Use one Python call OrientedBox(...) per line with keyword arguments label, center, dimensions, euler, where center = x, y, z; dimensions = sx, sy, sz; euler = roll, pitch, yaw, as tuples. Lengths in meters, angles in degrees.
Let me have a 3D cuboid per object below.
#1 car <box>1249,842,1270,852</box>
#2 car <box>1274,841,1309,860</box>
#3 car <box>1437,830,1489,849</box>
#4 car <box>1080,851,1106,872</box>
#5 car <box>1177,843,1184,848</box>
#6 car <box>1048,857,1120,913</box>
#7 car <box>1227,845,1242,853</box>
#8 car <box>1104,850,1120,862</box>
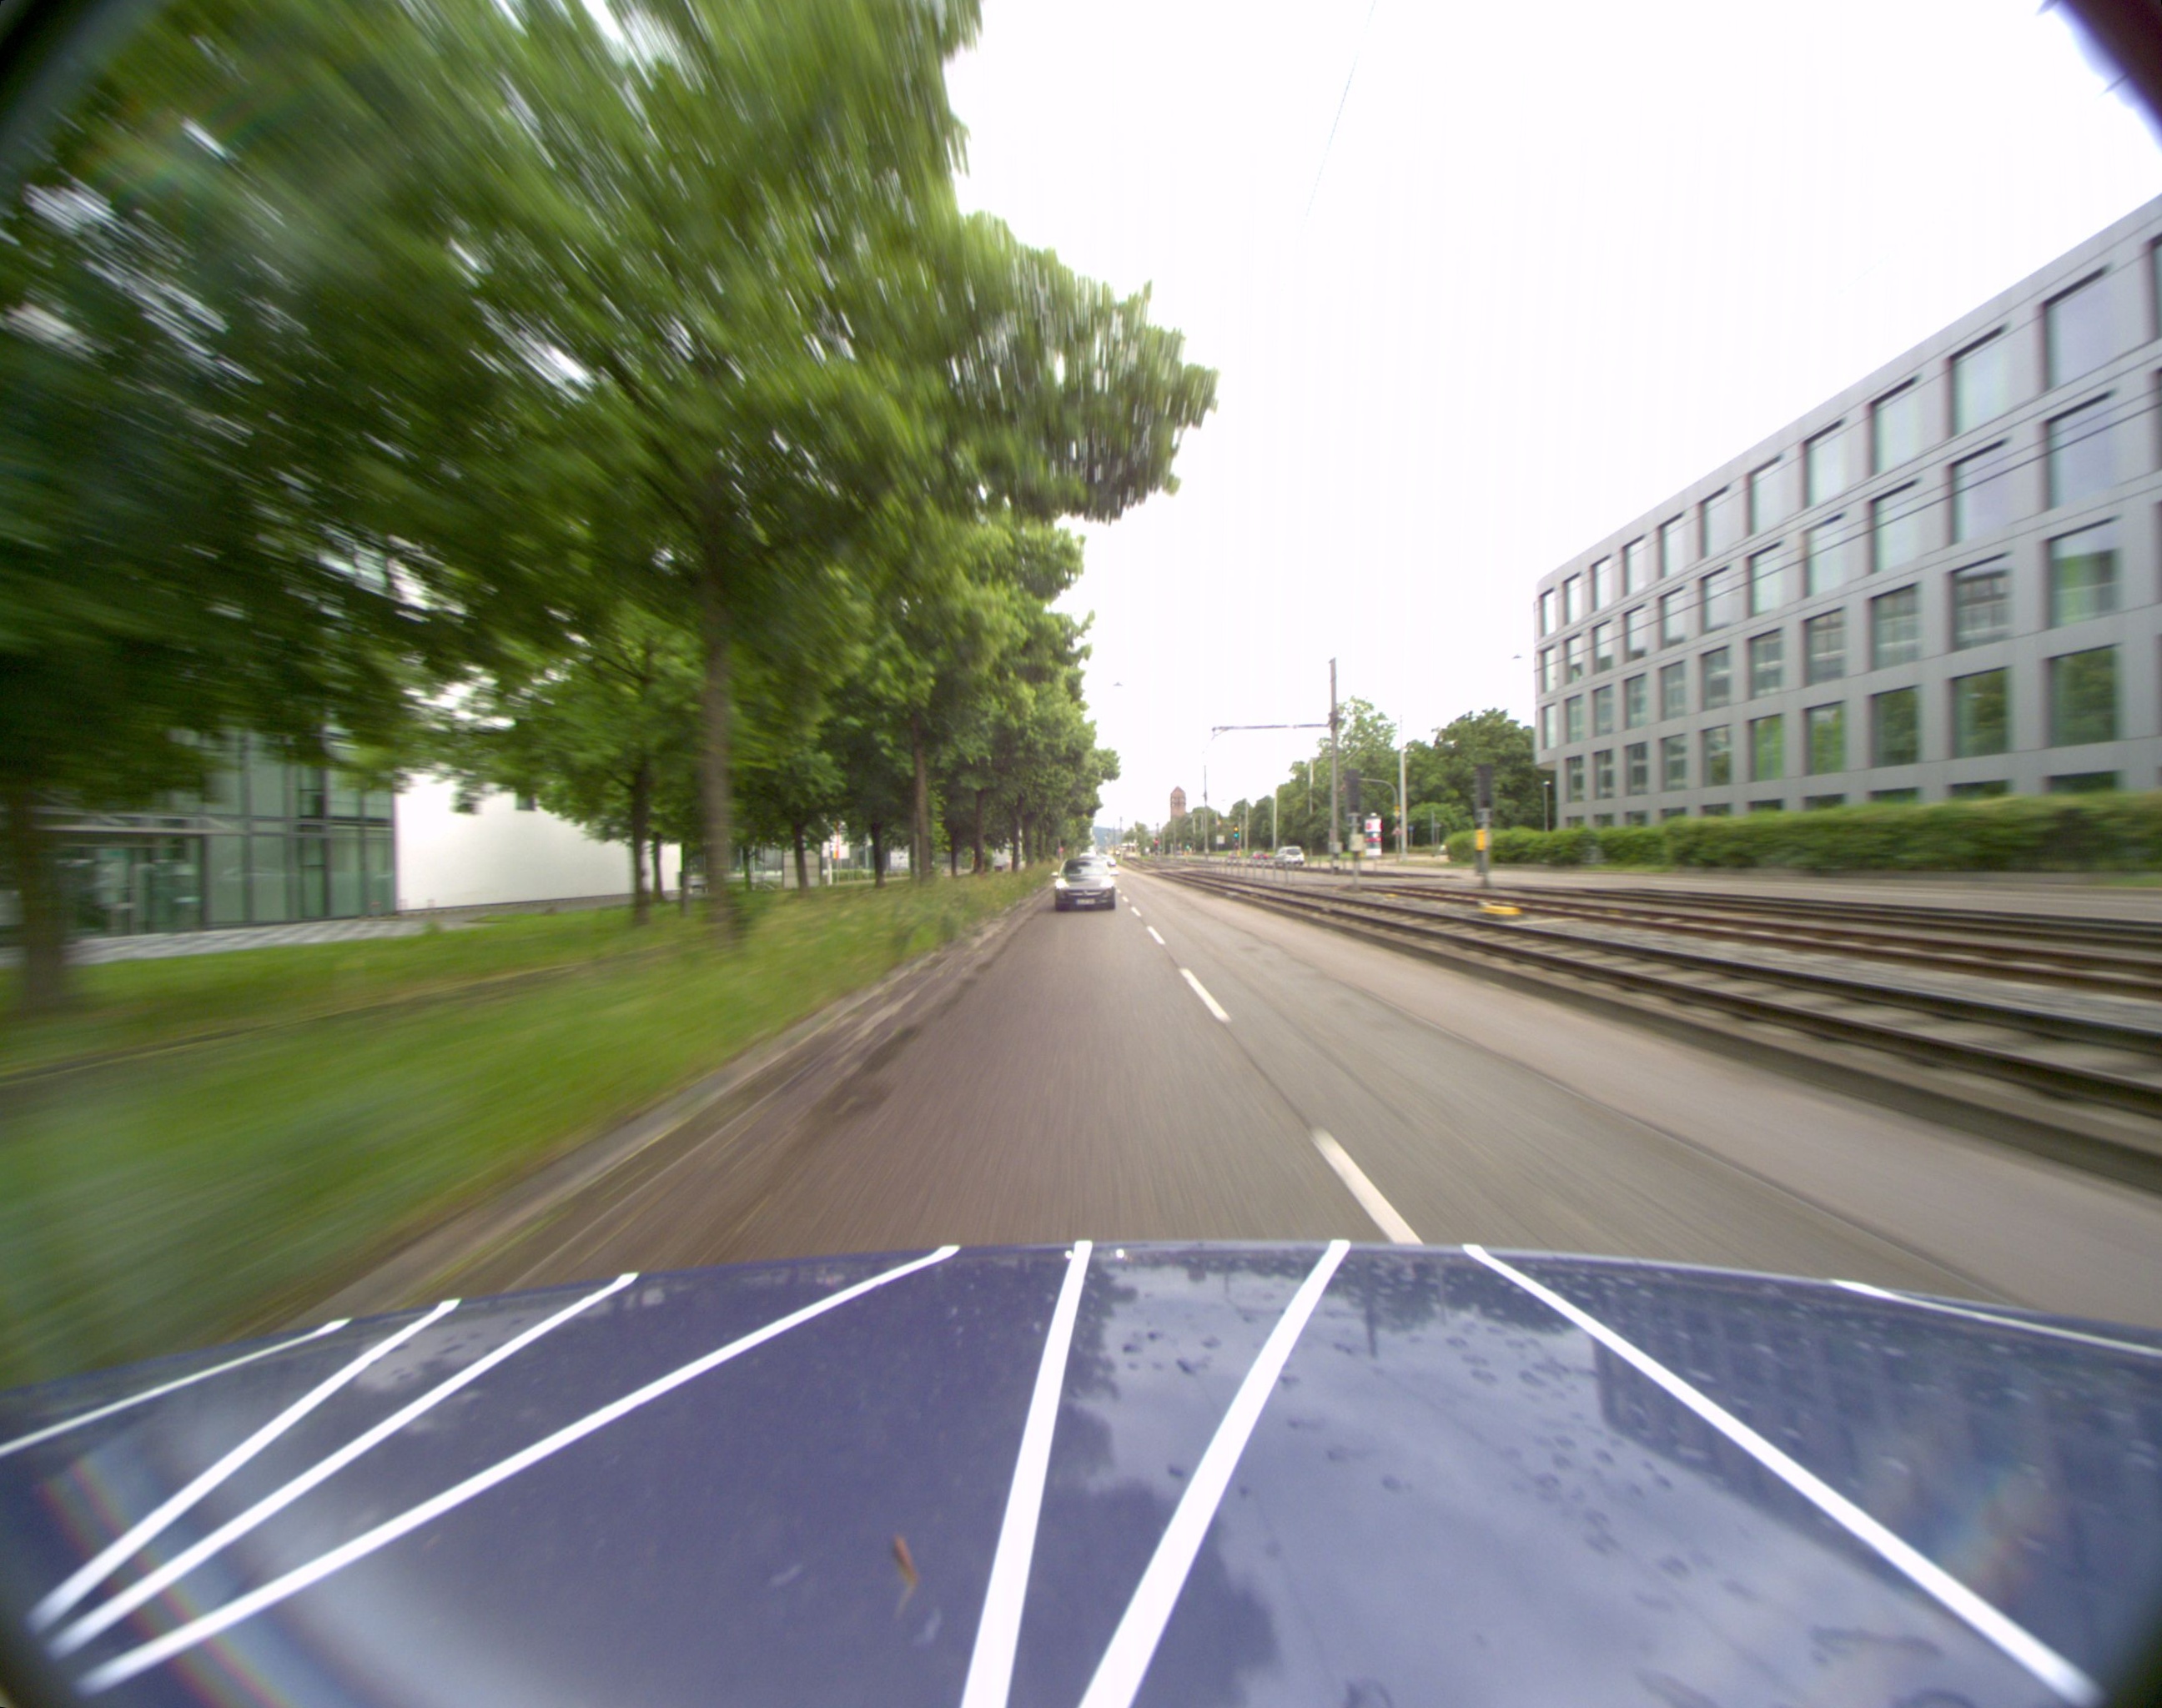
OrientedBox(label="car", center=(23.441, -0.926, 99.959), dimensions=(1.802, 1.339, 4.259), euler=(-1, 0, 1))
OrientedBox(label="car", center=(18.995, -0.300, 68.771), dimensions=(1.907, 1.635, 4.884), euler=(-1, 1, 2))
OrientedBox(label="car", center=(36.251, -1.372, 72.190), dimensions=(3.929, 1.444, 1.925), euler=(-4, 1, -1))
OrientedBox(label="car", center=(1.002, 0.598, 63.292), dimensions=(1.998, 1.608, 4.000), euler=(-2, 1, 1))
OrientedBox(label="car", center=(29.297, -2.583, 223.224), dimensions=(1.765, 1.389, 3.901), euler=(-1, 1, 4))
OrientedBox(label="car", center=(0.116, 0.858, 22.729), dimensions=(1.899, 1.432, 4.474), euler=(-2, 0, 1))
OrientedBox(label="car", center=(25.982, -0.794, 128.375), dimensions=(1.760, 1.237, 3.987), euler=(-1, 0, 1))
OrientedBox(label="car", center=(4.020, 0.280, 99.029), dimensions=(1.899, 1.432, 4.246), euler=(-2, 0, 1))
